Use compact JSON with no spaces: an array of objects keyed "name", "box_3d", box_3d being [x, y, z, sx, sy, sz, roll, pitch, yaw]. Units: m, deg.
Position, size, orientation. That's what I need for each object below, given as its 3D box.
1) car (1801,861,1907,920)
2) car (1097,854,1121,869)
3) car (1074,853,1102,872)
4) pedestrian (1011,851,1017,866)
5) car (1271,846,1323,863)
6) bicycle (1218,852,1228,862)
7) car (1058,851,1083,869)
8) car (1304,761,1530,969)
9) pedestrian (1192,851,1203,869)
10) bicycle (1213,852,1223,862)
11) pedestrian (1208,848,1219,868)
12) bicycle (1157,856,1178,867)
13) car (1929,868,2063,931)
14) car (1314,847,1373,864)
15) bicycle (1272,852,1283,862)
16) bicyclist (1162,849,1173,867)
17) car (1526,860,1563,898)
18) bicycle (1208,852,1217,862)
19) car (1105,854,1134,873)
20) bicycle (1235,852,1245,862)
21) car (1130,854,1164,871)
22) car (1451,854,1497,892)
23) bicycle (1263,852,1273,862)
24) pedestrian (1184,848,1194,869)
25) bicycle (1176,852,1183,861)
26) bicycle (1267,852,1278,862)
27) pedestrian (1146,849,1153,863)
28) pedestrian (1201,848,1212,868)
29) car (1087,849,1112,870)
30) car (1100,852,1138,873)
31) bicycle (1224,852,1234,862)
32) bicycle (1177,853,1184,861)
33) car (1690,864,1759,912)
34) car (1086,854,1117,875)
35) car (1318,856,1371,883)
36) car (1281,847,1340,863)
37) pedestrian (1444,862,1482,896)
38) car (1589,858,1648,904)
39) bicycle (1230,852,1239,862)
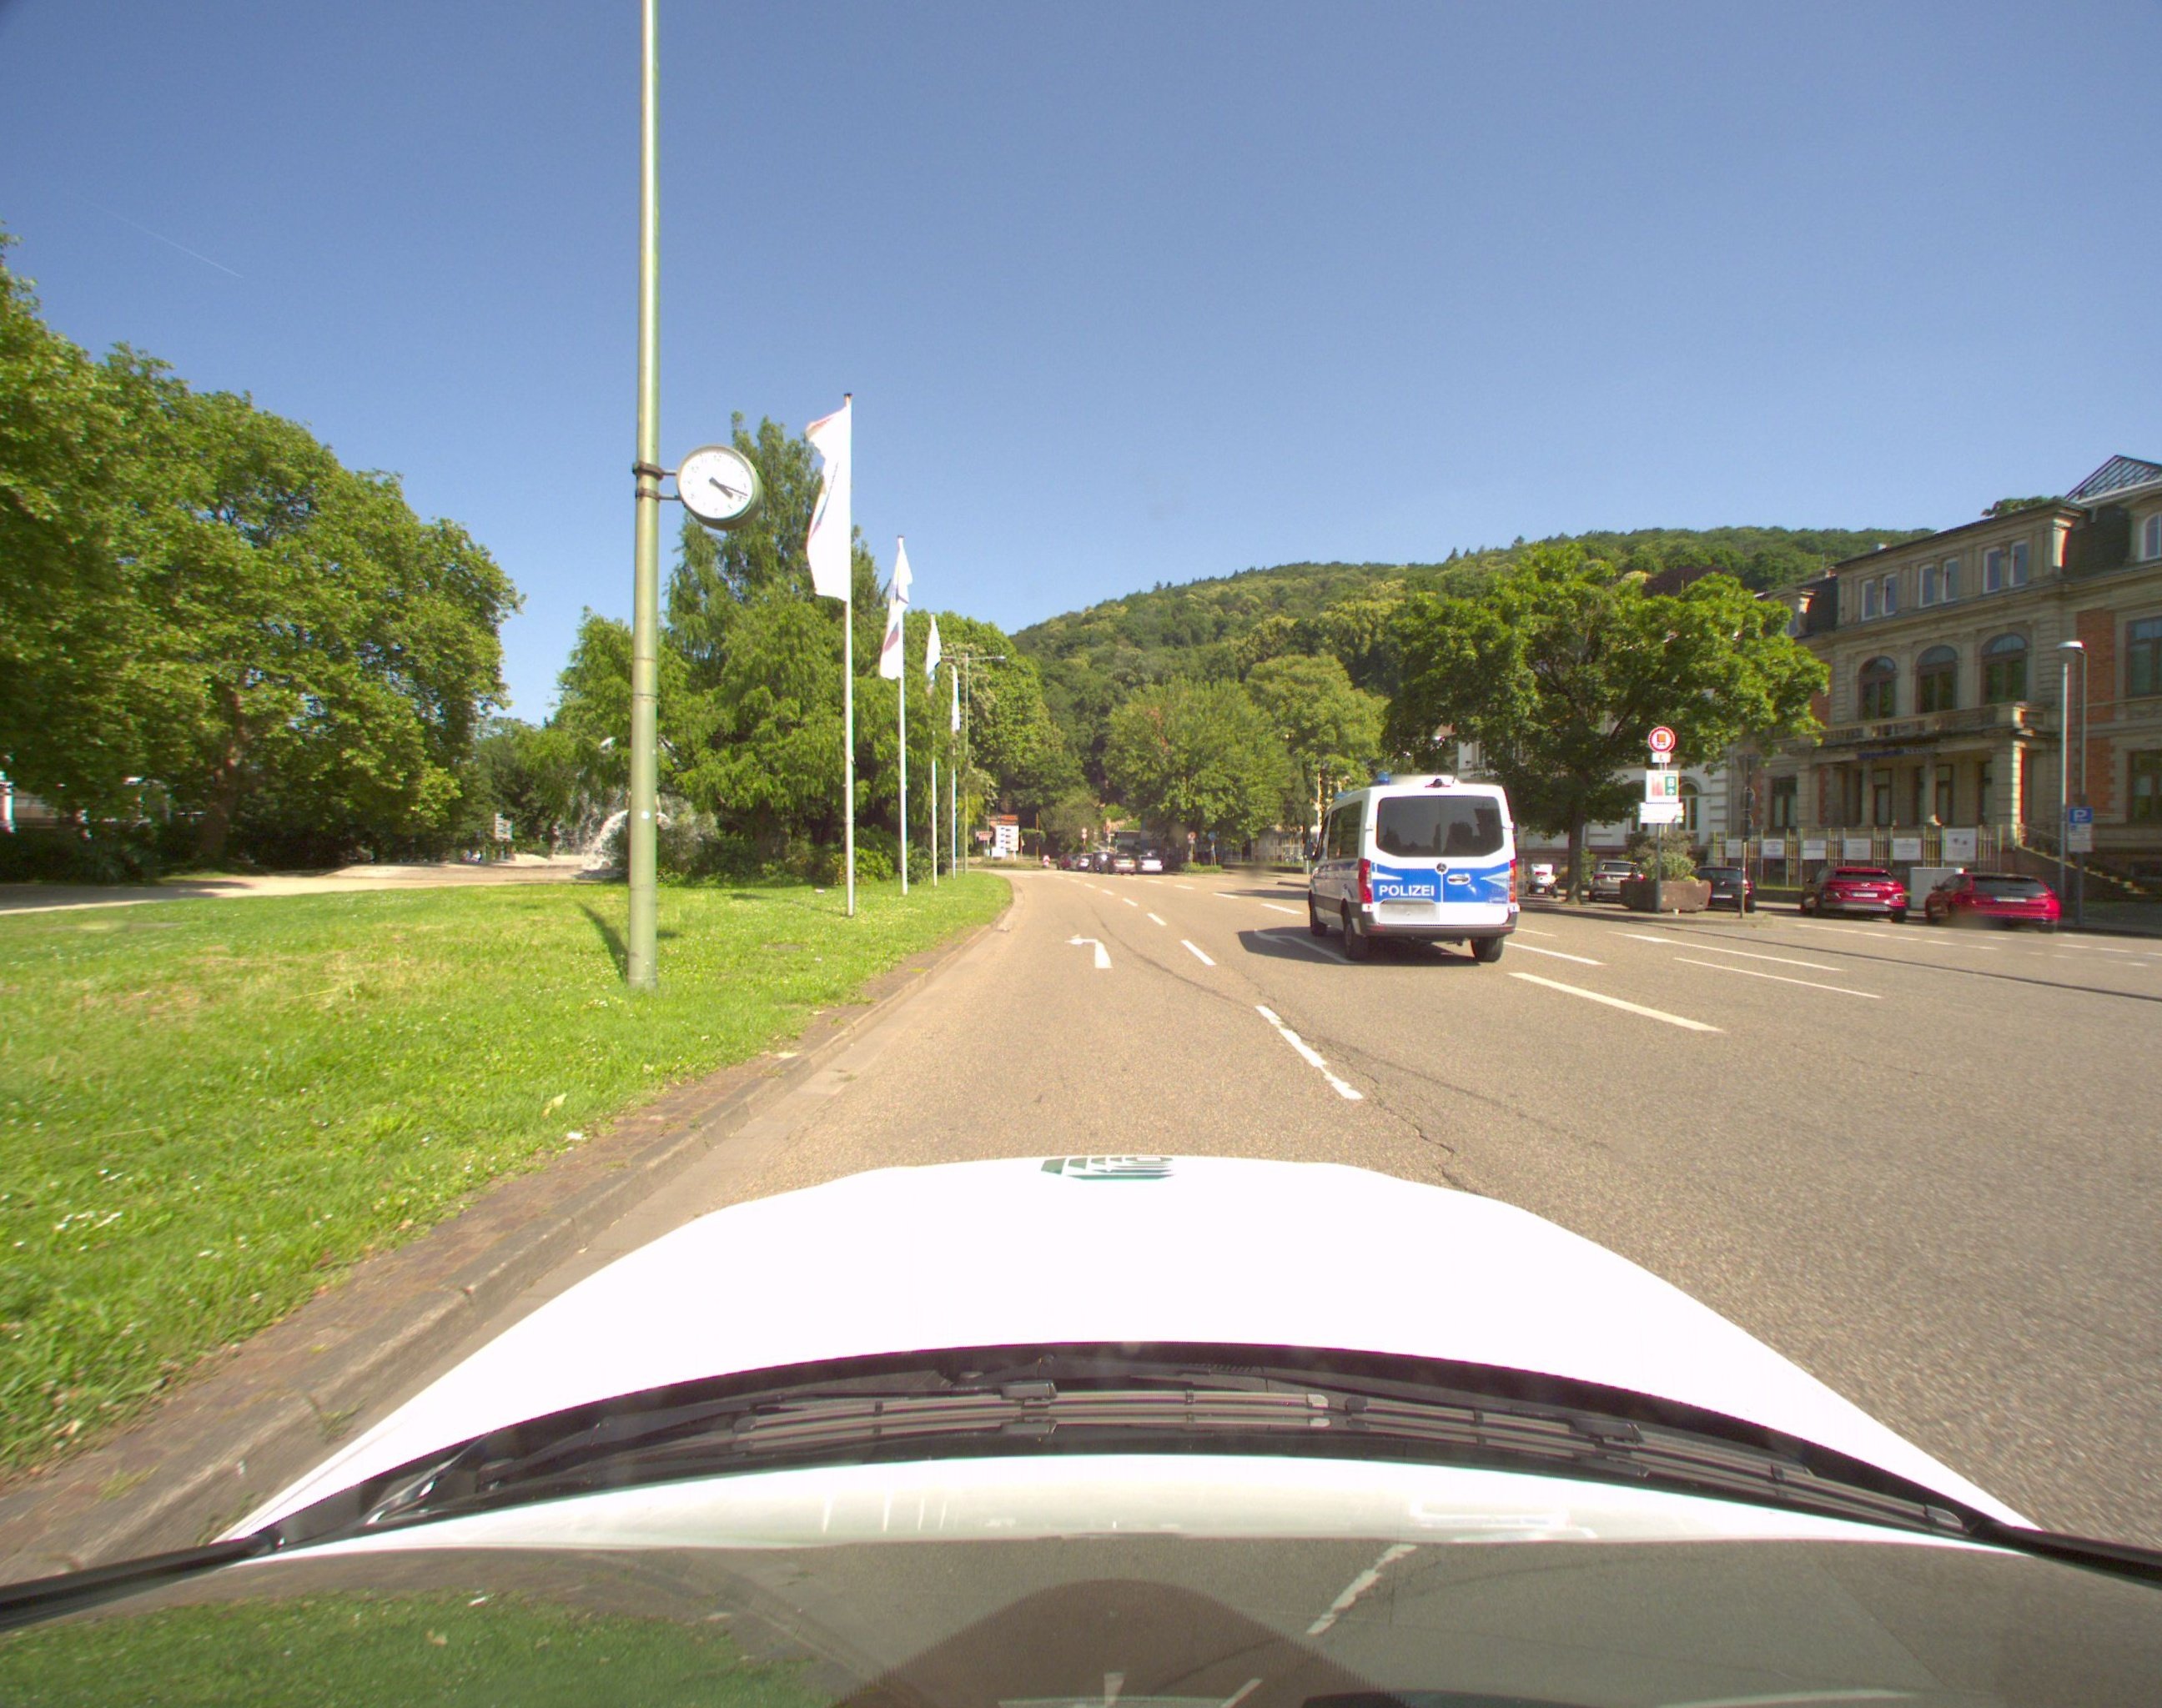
[{"name":"car","box_3d":[22.866,1.016,24.246,1.727,1.575,3.902,1,0,35]},{"name":"car","box_3d":[2.779,0.728,82.168,1.755,1.461,3.483,1,0,-9]},{"name":"car","box_3d":[0.533,0.654,66.449,1.755,1.461,3.635,1,0,-9]},{"name":"pedestrian","box_3d":[-7.293,0.467,88.663,0.545,1.621,0.634,0,0,1]},{"name":"car","box_3d":[19.539,0.057,73.718,4.148,1.476,1.869,0,0,-14]},{"name":"bicycle","box_3d":[15.851,0.352,90.849,0.537,1.085,1.831,0,0,-6]},{"name":"car","box_3d":[-0.938,0.522,72.618,1.755,1.461,3.483,1,0,-9]},{"name":"car","box_3d":[4.774,0.132,12.420,2.061,2.508,4.941,1,0,9]},{"name":"pedestrian","box_3d":[10.916,0.525,76.322,0.770,1.663,0.827,1,0,-7]},{"name":"bicycle","box_3d":[15.262,0.355,90.766,0.537,1.085,1.831,0,0,-6]},{"name":"pedestrian","box_3d":[12.512,0.395,76.975,0.771,1.854,0.827,1,0,-10]},{"name":"bicycle","box_3d":[8.955,0.803,84.502,2.067,1.112,0.757,0,0,3]},{"name":"car","box_3d":[23.486,1.101,21.044,1.727,1.418,3.724,1,0,39]},{"name":"car","box_3d":[20.719,0.096,64.329,4.042,1.336,1.854,0,0,-11]},{"name":"bicycle","box_3d":[22.051,0.324,91.394,0.537,1.085,1.831,0,0,-6]},{"name":"bicyclist","box_3d":[9.000,0.412,84.503,1.121,1.932,0.749,0,0,4]},{"name":"car","box_3d":[19.597,1.030,34.514,1.187,1.482,2.302,1,0,25]},{"name":"bicycle","box_3d":[14.623,0.358,90.692,0.537,1.085,1.831,0,0,-6]},{"name":"car","box_3d":[3.161,0.747,67.336,1.755,1.461,3.635,1,0,-9]},{"name":"bicycle","box_3d":[17.740,0.344,91.018,0.537,1.085,1.831,0,0,-6]},{"name":"car","box_3d":[4.807,0.599,60.108,1.755,1.213,3.483,1,0,-9]},{"name":"car","box_3d":[18.644,0.860,38.547,1.692,1.696,4.300,1,0,29]},{"name":"bicycle","box_3d":[20.878,0.329,91.127,0.537,1.085,1.831,0,0,-6]},{"name":"pedestrian","box_3d":[10.051,0.419,75.768,0.770,1.854,0.827,1,0,-7]},{"name":"bicycle","box_3d":[11.573,0.321,95.575,0.405,1.012,1.337,0,0,-8]},{"name":"bicycle","box_3d":[21.468,0.327,91.278,0.537,1.085,1.831,0,0,-6]},{"name":"pedestrian","box_3d":[7.392,0.187,87.770,0.490,1.458,0.729,0,0,-20]},{"name":"pedestrian","box_3d":[11.724,0.375,75.996,0.771,1.854,0.827,1,0,-10]},{"name":"car","box_3d":[1.739,0.506,76.783,1.755,1.938,3.483,1,0,-9]},{"name":"car","box_3d":[2.526,0.547,55.541,1.757,1.334,3.787,1,0,-11]},{"name":"bicycle","box_3d":[16.478,0.349,90.821,0.537,1.085,1.831,0,0,-6]},{"name":"bicycle","box_3d":[11.456,0.358,93.615,0.405,0.941,1.337,0,0,-8]},{"name":"car","box_3d":[21.364,1.076,27.162,1.585,1.417,3.845,1,0,35]},{"name":"car","box_3d":[1.484,0.778,61.490,1.755,1.461,3.483,1,0,-9]},{"name":"car","box_3d":[15.464,0.893,47.693,1.804,1.461,4.133,1,0,35]},{"name":"car","box_3d":[19.392,0.071,68.861,4.468,1.336,1.815,0,0,-11]},{"name":"pedestrian","box_3d":[13.793,0.899,29.392,1.024,1.197,0.784,1,0,-29]},{"name":"car","box_3d":[20.640,0.967,31.391,1.692,1.629,4.343,1,0,31]},{"name":"bicycle","box_3d":[17.150,0.346,90.919,0.537,1.085,1.831,0,0,-6]}]
